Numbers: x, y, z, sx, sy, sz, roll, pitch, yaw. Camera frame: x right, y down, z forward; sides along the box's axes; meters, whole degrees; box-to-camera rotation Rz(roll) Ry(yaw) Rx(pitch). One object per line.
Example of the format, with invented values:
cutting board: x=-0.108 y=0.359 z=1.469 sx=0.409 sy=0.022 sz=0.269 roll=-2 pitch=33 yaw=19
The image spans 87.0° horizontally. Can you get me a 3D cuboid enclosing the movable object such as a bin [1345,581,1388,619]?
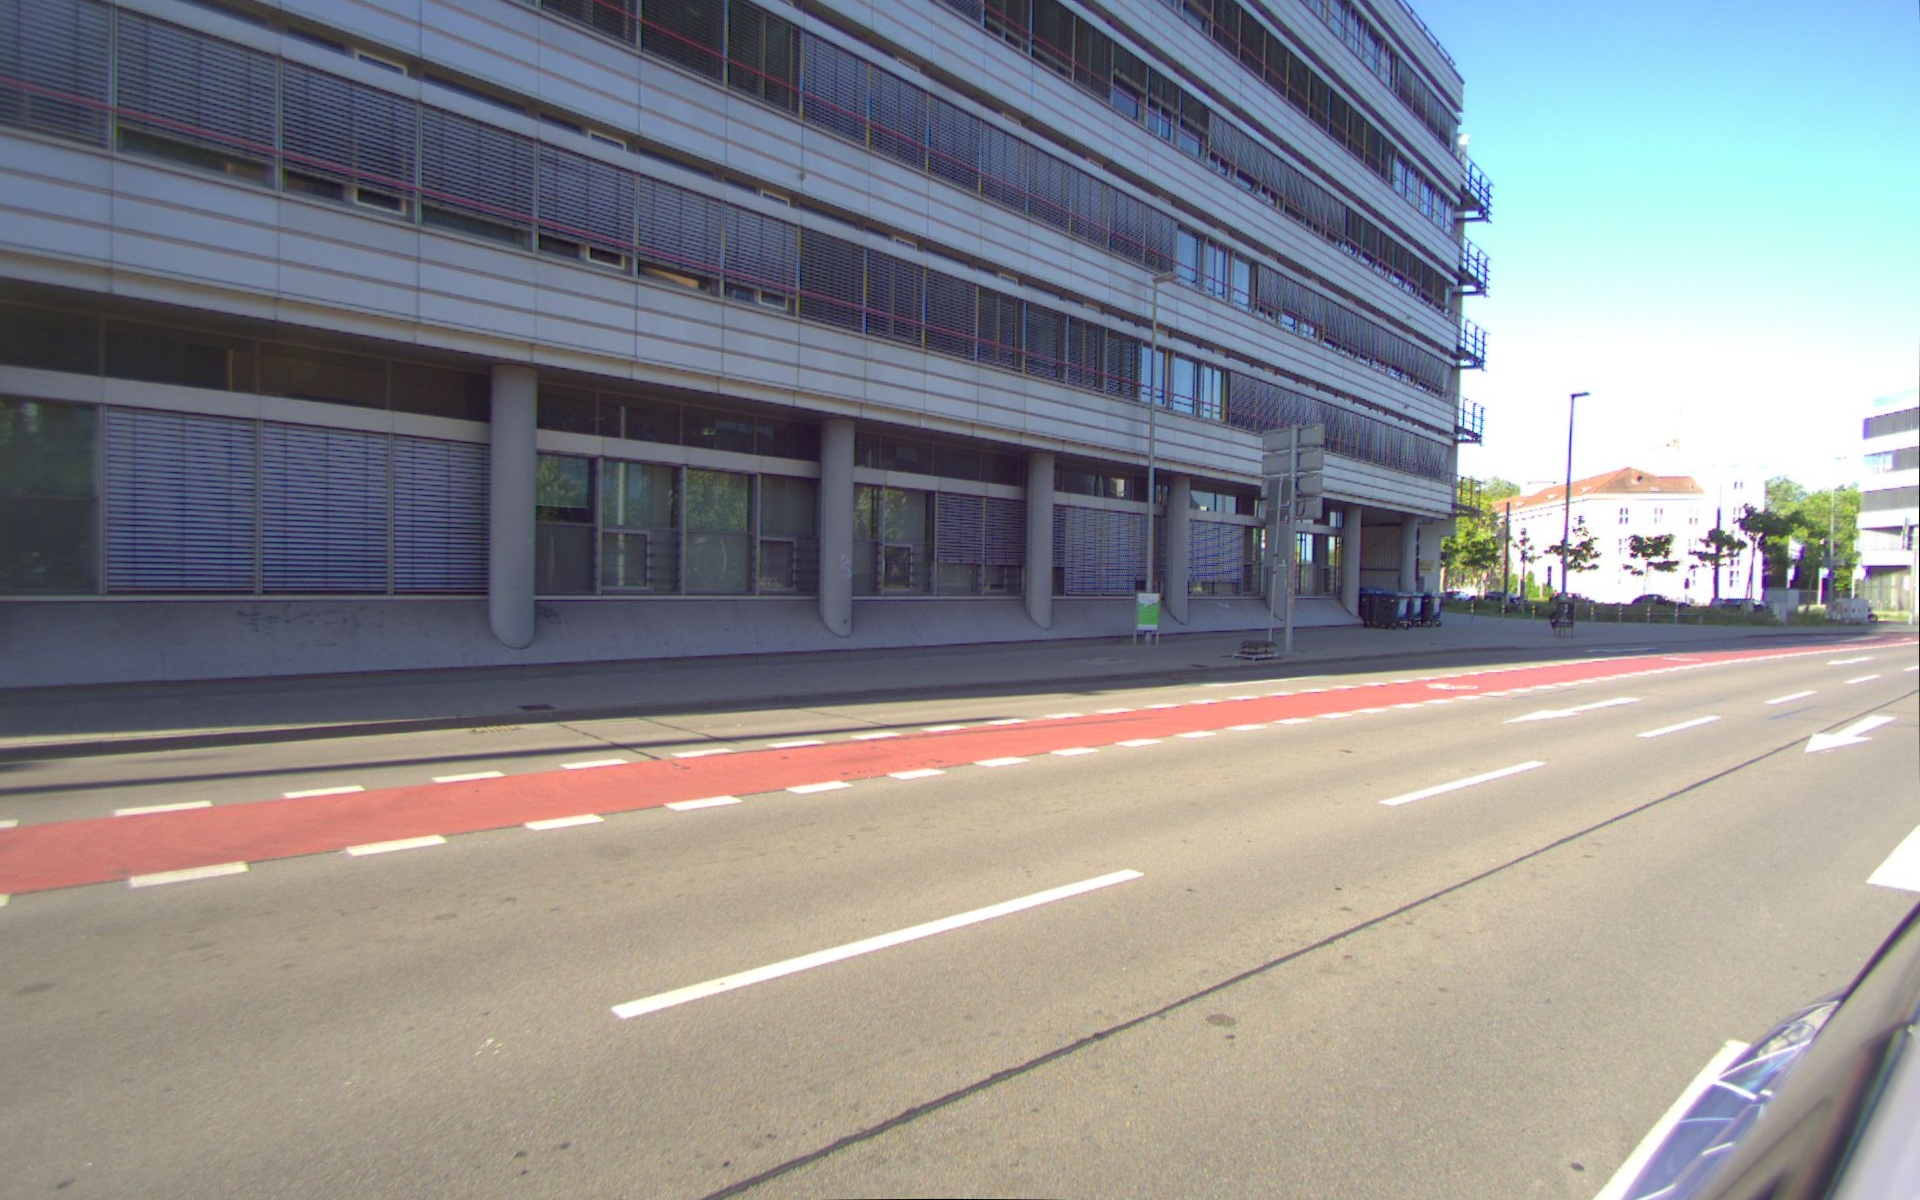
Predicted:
movable object such as a bin: x=15.510 y=-0.007 z=38.605 sx=1.088 sy=1.391 sz=1.109 roll=0 pitch=1 yaw=-40

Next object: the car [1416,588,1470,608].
car: x=39.952 y=-0.154 z=83.789 sx=1.705 sy=1.551 sz=3.807 roll=0 pitch=2 yaw=-28

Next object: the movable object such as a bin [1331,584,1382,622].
movable object such as a bin: x=14.464 y=0.105 z=36.909 sx=1.153 sy=1.317 sz=1.327 roll=0 pitch=2 yaw=-40

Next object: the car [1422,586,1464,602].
car: x=49.295 y=-0.597 z=103.289 sx=3.773 sy=1.551 sz=1.720 roll=2 pitch=2 yaw=32

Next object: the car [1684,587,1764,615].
car: x=45.857 y=0.044 z=60.821 sx=1.706 sy=1.551 sz=3.806 roll=1 pitch=1 yaw=-4

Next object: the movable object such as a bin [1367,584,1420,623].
movable object such as a bin: x=15.358 y=0.112 z=35.879 sx=1.153 sy=1.317 sz=1.327 roll=0 pitch=2 yaw=-40

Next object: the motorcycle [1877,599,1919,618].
motorcycle: x=66.775 y=0.617 z=71.959 sx=2.243 sy=1.236 sz=0.811 roll=3 pitch=2 yaw=37

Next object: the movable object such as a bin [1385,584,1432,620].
movable object such as a bin: x=17.095 y=0.070 z=38.593 sx=1.305 sy=1.317 sz=1.173 roll=0 pitch=2 yaw=-40

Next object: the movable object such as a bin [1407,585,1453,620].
movable object such as a bin: x=18.239 y=0.088 z=39.284 sx=1.305 sy=1.317 sz=1.173 roll=0 pitch=2 yaw=-40
